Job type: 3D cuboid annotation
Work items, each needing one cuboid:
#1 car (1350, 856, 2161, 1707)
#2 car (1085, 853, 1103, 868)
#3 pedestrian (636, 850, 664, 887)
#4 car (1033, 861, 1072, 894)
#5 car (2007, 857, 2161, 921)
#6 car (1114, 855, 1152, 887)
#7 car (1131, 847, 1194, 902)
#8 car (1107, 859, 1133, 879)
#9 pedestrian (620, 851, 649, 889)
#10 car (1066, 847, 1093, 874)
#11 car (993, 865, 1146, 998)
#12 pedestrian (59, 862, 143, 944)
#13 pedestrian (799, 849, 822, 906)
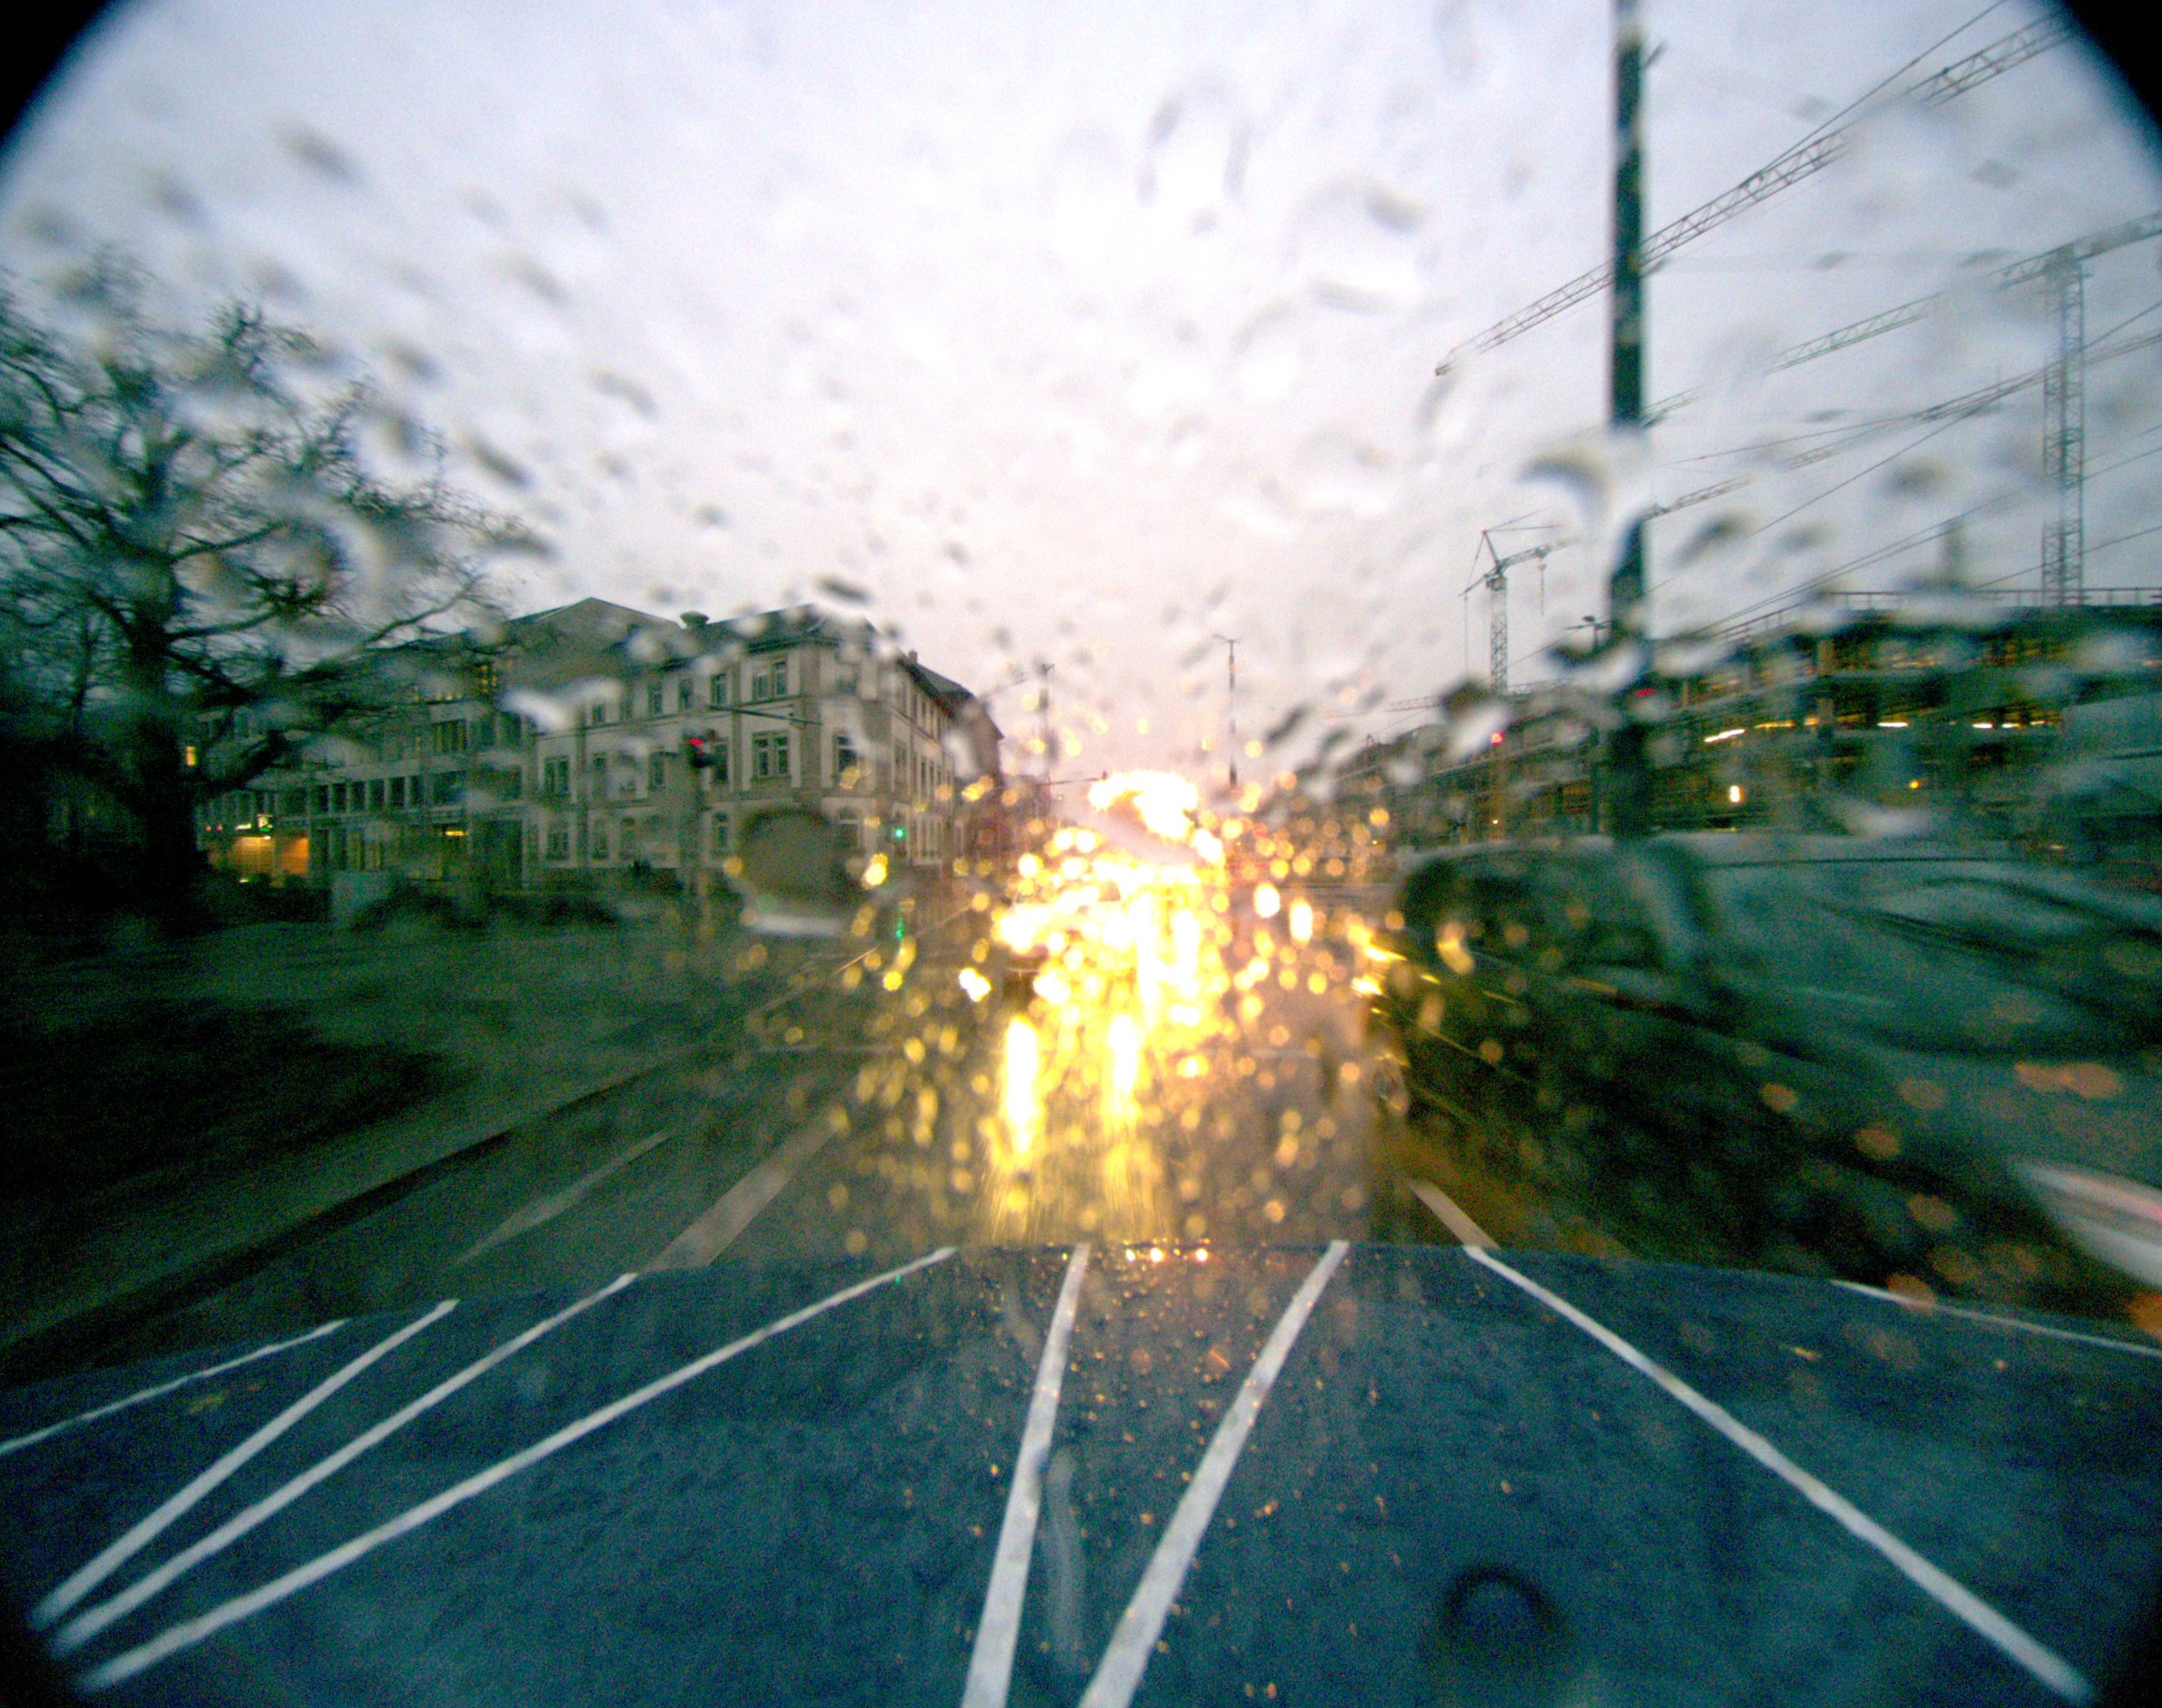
[{"bbox_3d":[2.479,0.841,2.542,1.764,1.584,4.000,-2,0,1],"label":"car"},{"bbox_3d":[1.332,0.708,82.031,1.844,1.547,4.000,-2,0,0],"label":"car"},{"bbox_3d":[-23.250,0.773,40.995,0.976,1.969,0.869,-1,1,23],"label":"pedestrian"},{"bbox_3d":[-1.379,1.112,37.806,1.764,1.443,3.999,-2,0,-1],"label":"car"},{"bbox_3d":[29.071,0.907,21.156,1.885,1.565,4.001,-2,0,6],"label":"car"},{"bbox_3d":[2.943,0.947,43.829,1.844,1.644,4.323,-2,0,-1],"label":"car"},{"bbox_3d":[2.762,0.663,26.515,1.858,1.723,4.000,-2,0,2],"label":"car"},{"bbox_3d":[3.180,1.213,62.481,1.844,1.547,4.000,-2,0,0],"label":"car"},{"bbox_3d":[-23.596,0.853,40.149,0.976,1.969,0.869,-1,1,23],"label":"pedestrian"},{"bbox_3d":[-0.164,0.439,56.711,1.858,1.886,3.999,-2,0,-1],"label":"car"},{"bbox_3d":[-0.172,0.940,10.946,1.764,1.443,3.999,-2,0,-1],"label":"car"},{"bbox_3d":[-20.507,1.007,15.910,0.724,1.631,0.853,-2,1,21],"label":"pedestrian"},{"bbox_3d":[-9.160,0.787,25.732,0.676,1.868,0.714,-2,1,-20],"label":"pedestrian"}]
